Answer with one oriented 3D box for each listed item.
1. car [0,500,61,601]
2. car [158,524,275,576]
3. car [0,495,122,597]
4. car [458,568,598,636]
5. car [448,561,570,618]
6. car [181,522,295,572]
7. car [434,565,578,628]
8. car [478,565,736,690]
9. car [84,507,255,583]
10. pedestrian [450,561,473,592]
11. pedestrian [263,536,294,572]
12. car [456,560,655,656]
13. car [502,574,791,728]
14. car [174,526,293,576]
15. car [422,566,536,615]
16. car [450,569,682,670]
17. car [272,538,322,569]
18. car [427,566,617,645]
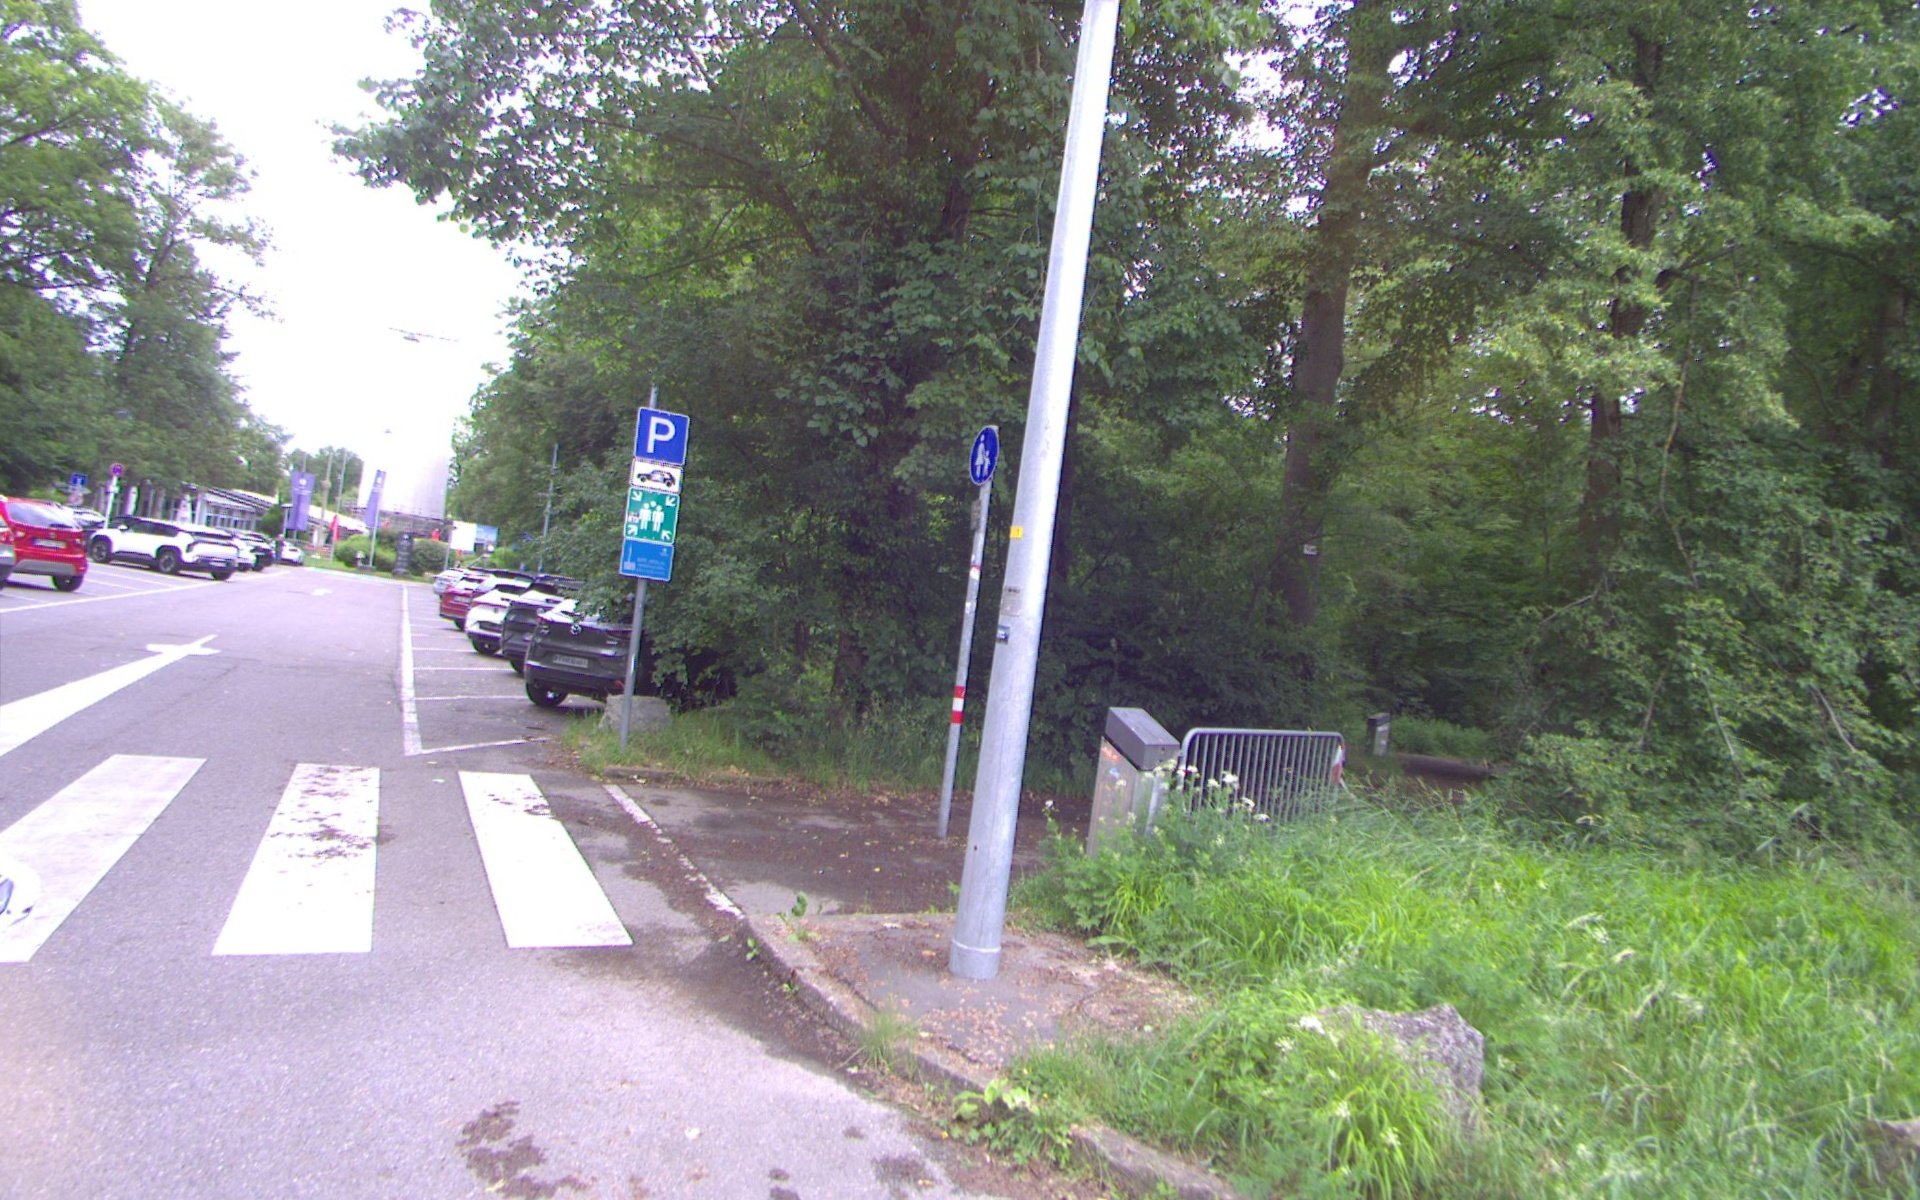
[{"bbox_3d":[-16.809,-1.054,15.877,3.924,1.500,1.880,8,-2,14],"label":"car"},{"bbox_3d":[-30.037,-2.016,40.681,3.773,1.460,1.775,8,-2,17],"label":"car"},{"bbox_3d":[-18.033,-1.151,18.797,3.585,1.603,1.689,8,-2,13],"label":"car"},{"bbox_3d":[-12.633,0.112,29.635,1.702,1.522,3.586,7,-2,18],"label":"car"},{"bbox_3d":[-17.782,-0.354,39.894,1.928,1.655,4.268,8,-2,16],"label":"car"},{"bbox_3d":[-33.400,-2.438,46.572,4.304,1.627,1.832,8,-2,15],"label":"car"},{"bbox_3d":[-14.446,-0.053,32.318,1.771,1.474,4.192,7,-2,17],"label":"car"},{"bbox_3d":[-5.712,0.554,16.941,1.920,1.597,4.210,8,-2,14],"label":"car"},{"bbox_3d":[-24.184,-1.667,30.821,4.110,1.615,1.849,8,-1,14],"label":"car"},{"bbox_3d":[-30.389,-1.452,61.341,0.751,1.744,0.897,8,-1,-3],"label":"pedestrian"},{"bbox_3d":[-36.187,-2.433,53.402,0.750,1.744,0.898,8,-1,18],"label":"pedestrian"},{"bbox_3d":[-9.136,0.262,23.117,1.808,1.636,4.124,7,-3,19],"label":"car"},{"bbox_3d":[-3.868,0.706,13.166,1.667,1.509,3.798,8,-2,15],"label":"car"},{"bbox_3d":[-31.406,-2.102,43.493,4.197,1.460,1.762,8,-2,14],"label":"car"},{"bbox_3d":[-19.931,-0.347,41.851,1.801,1.484,4.003,8,-2,21],"label":"car"},{"bbox_3d":[-7.512,0.467,19.672,1.835,1.454,4.124,7,-3,19],"label":"car"},{"bbox_3d":[-38.558,-2.699,58.586,1.878,1.444,3.973,9,-2,-27],"label":"car"},{"bbox_3d":[-11.074,0.204,25.796,1.892,1.429,4.301,7,-3,21],"label":"car"}]
